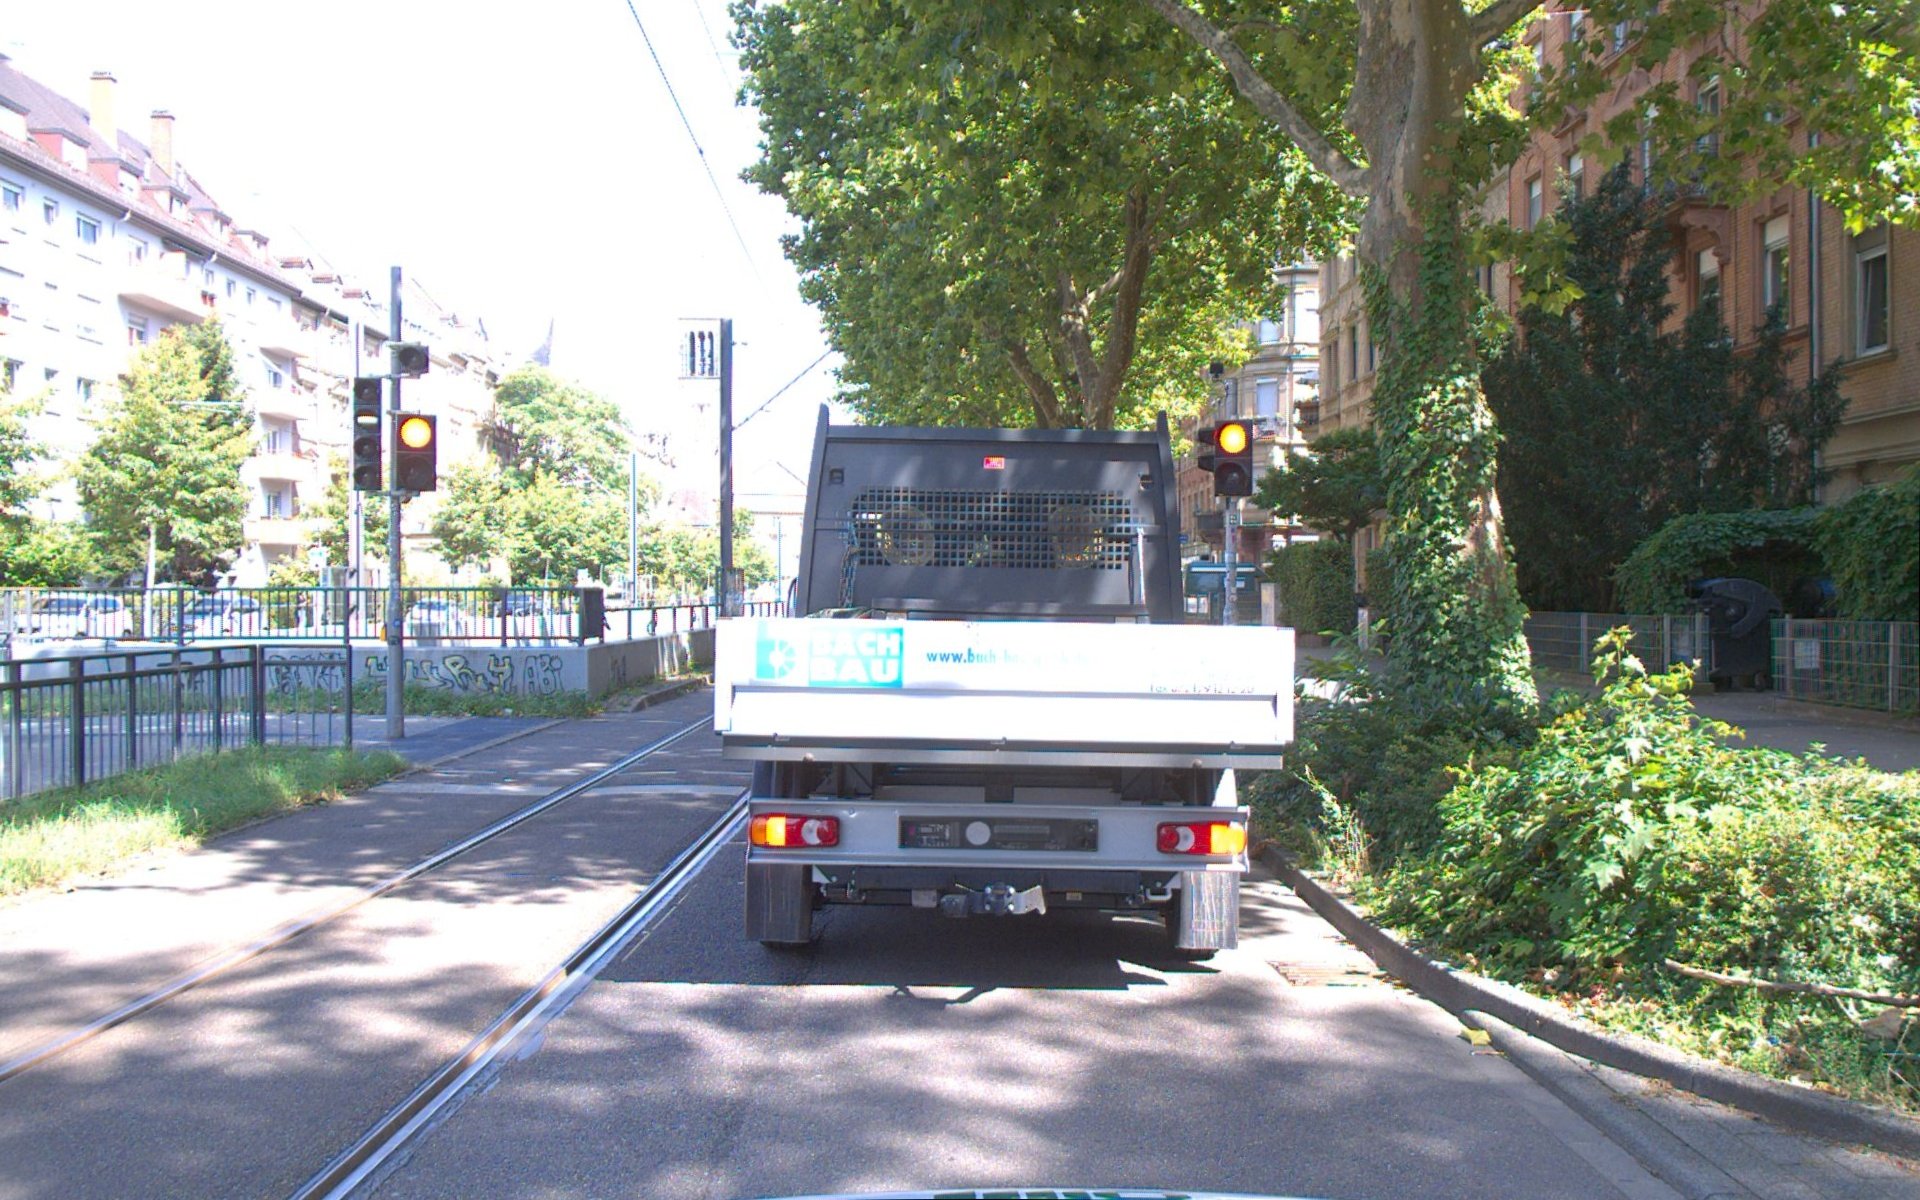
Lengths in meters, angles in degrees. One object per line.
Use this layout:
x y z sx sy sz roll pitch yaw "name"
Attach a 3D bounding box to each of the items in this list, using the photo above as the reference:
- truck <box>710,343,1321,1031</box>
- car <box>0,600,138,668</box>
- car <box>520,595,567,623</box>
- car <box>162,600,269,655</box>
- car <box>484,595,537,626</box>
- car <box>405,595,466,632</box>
0.198 0.292 7.915 2.094 2.359 4.401 0 0 0 "truck"
-21.939 0.803 40.716 1.737 1.524 3.994 -2 0 -6 "car"
-23.175 0.481 92.118 1.735 1.524 3.998 0 0 -2 "car"
-22.123 0.782 49.293 1.737 1.524 3.994 -2 0 -6 "car"
-22.892 0.503 84.286 1.735 1.524 3.998 0 0 -2 "car"
-22.405 0.538 70.803 1.736 1.524 3.994 0 0 -6 "car"
